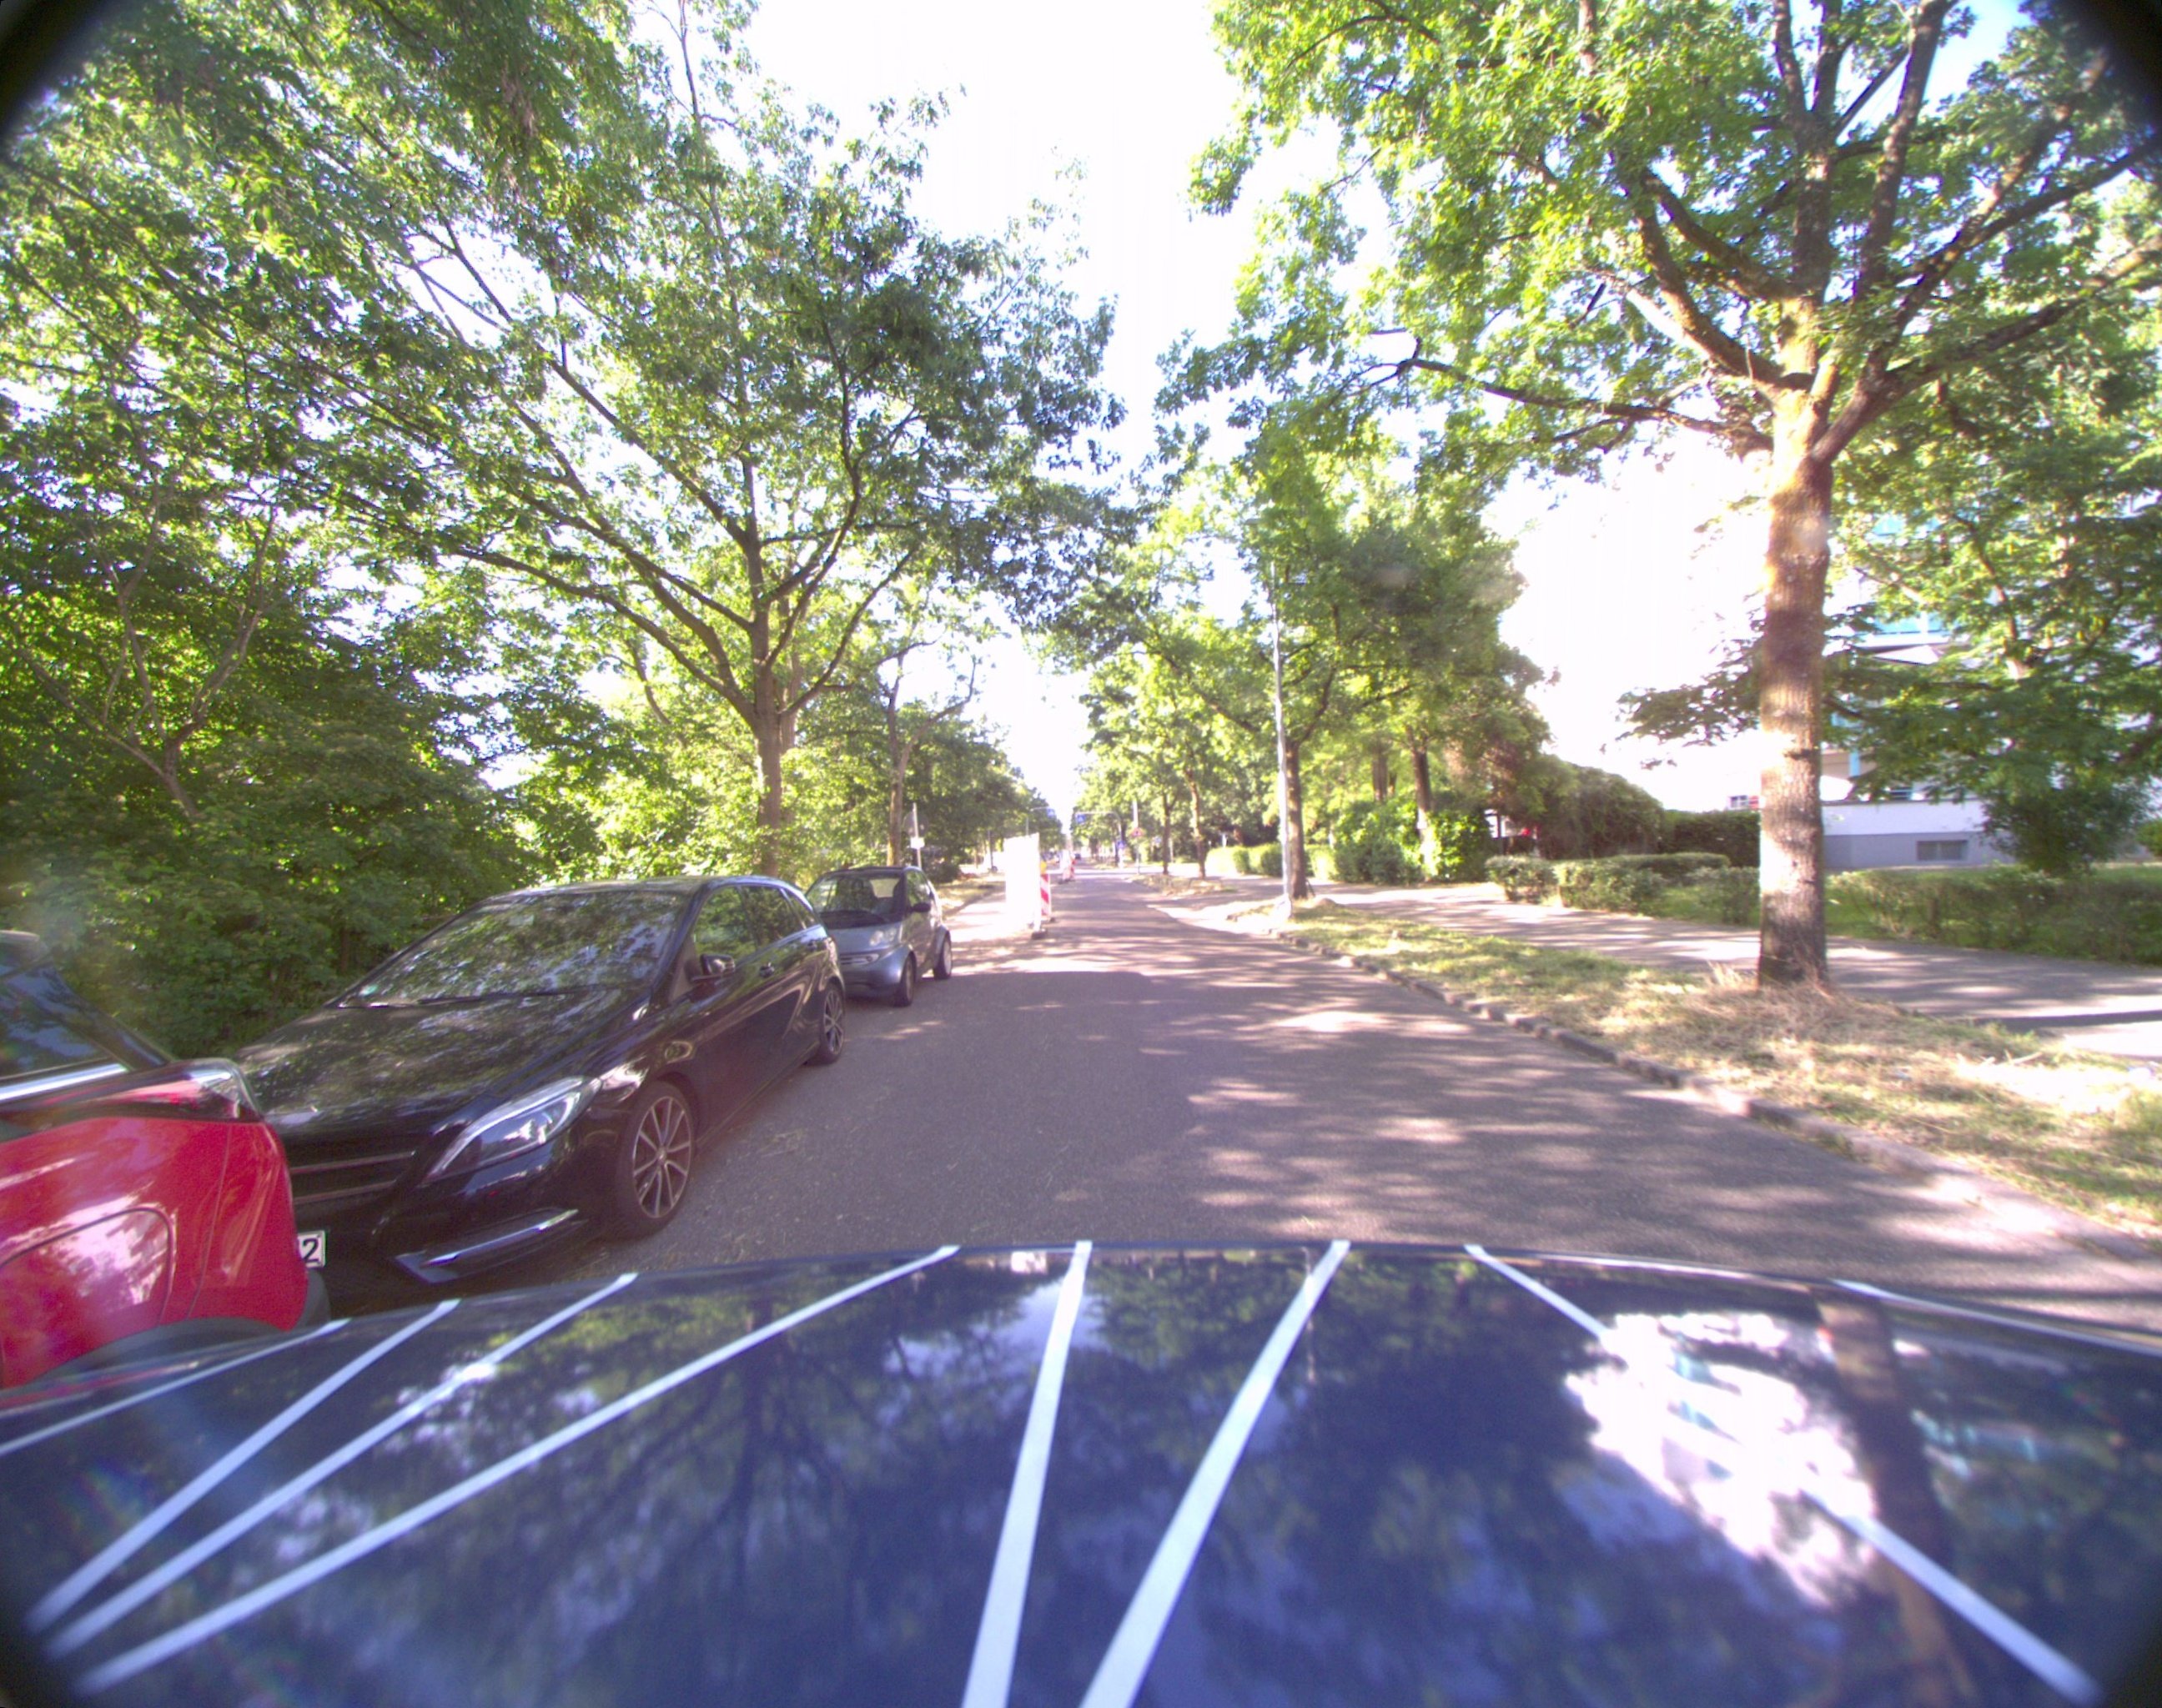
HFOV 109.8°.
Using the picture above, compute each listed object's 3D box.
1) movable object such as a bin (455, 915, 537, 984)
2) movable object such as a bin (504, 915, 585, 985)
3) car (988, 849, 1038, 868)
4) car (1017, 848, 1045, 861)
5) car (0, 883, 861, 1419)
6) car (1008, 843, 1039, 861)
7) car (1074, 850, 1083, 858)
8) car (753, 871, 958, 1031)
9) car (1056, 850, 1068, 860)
[{"bbox_3d":[-8.219,1.337,10.695,0.727,0.877,0.462,0,7,6],"label":"movable object such as a bin"},{"bbox_3d":[-7.485,1.335,10.615,0.727,0.877,0.462,0,7,6],"label":"movable object such as a bin"},{"bbox_3d":[-7.298,0.463,82.295,5.269,1.993,2.000,-1,0,-2],"label":"car"},{"bbox_3d":[-7.595,0.074,114.976,4.245,1.993,1.565,-1,0,-4],"label":"car"},{"bbox_3d":[-2.737,1.051,4.587,1.716,1.500,4.148,-3,0,-3],"label":"car"},{"bbox_3d":[-8.259,-0.257,109.706,4.412,2.531,1.888,-1,0,-4],"label":"car"},{"bbox_3d":[-0.546,0.044,180.255,1.998,1.805,4.000,-3,0,2],"label":"car"},{"bbox_3d":[-2.527,1.025,9.123,1.497,1.500,2.677,-3,0,2],"label":"car"},{"bbox_3d":[-3.472,0.190,141.092,1.998,1.871,4.000,0,1,1],"label":"car"}]
